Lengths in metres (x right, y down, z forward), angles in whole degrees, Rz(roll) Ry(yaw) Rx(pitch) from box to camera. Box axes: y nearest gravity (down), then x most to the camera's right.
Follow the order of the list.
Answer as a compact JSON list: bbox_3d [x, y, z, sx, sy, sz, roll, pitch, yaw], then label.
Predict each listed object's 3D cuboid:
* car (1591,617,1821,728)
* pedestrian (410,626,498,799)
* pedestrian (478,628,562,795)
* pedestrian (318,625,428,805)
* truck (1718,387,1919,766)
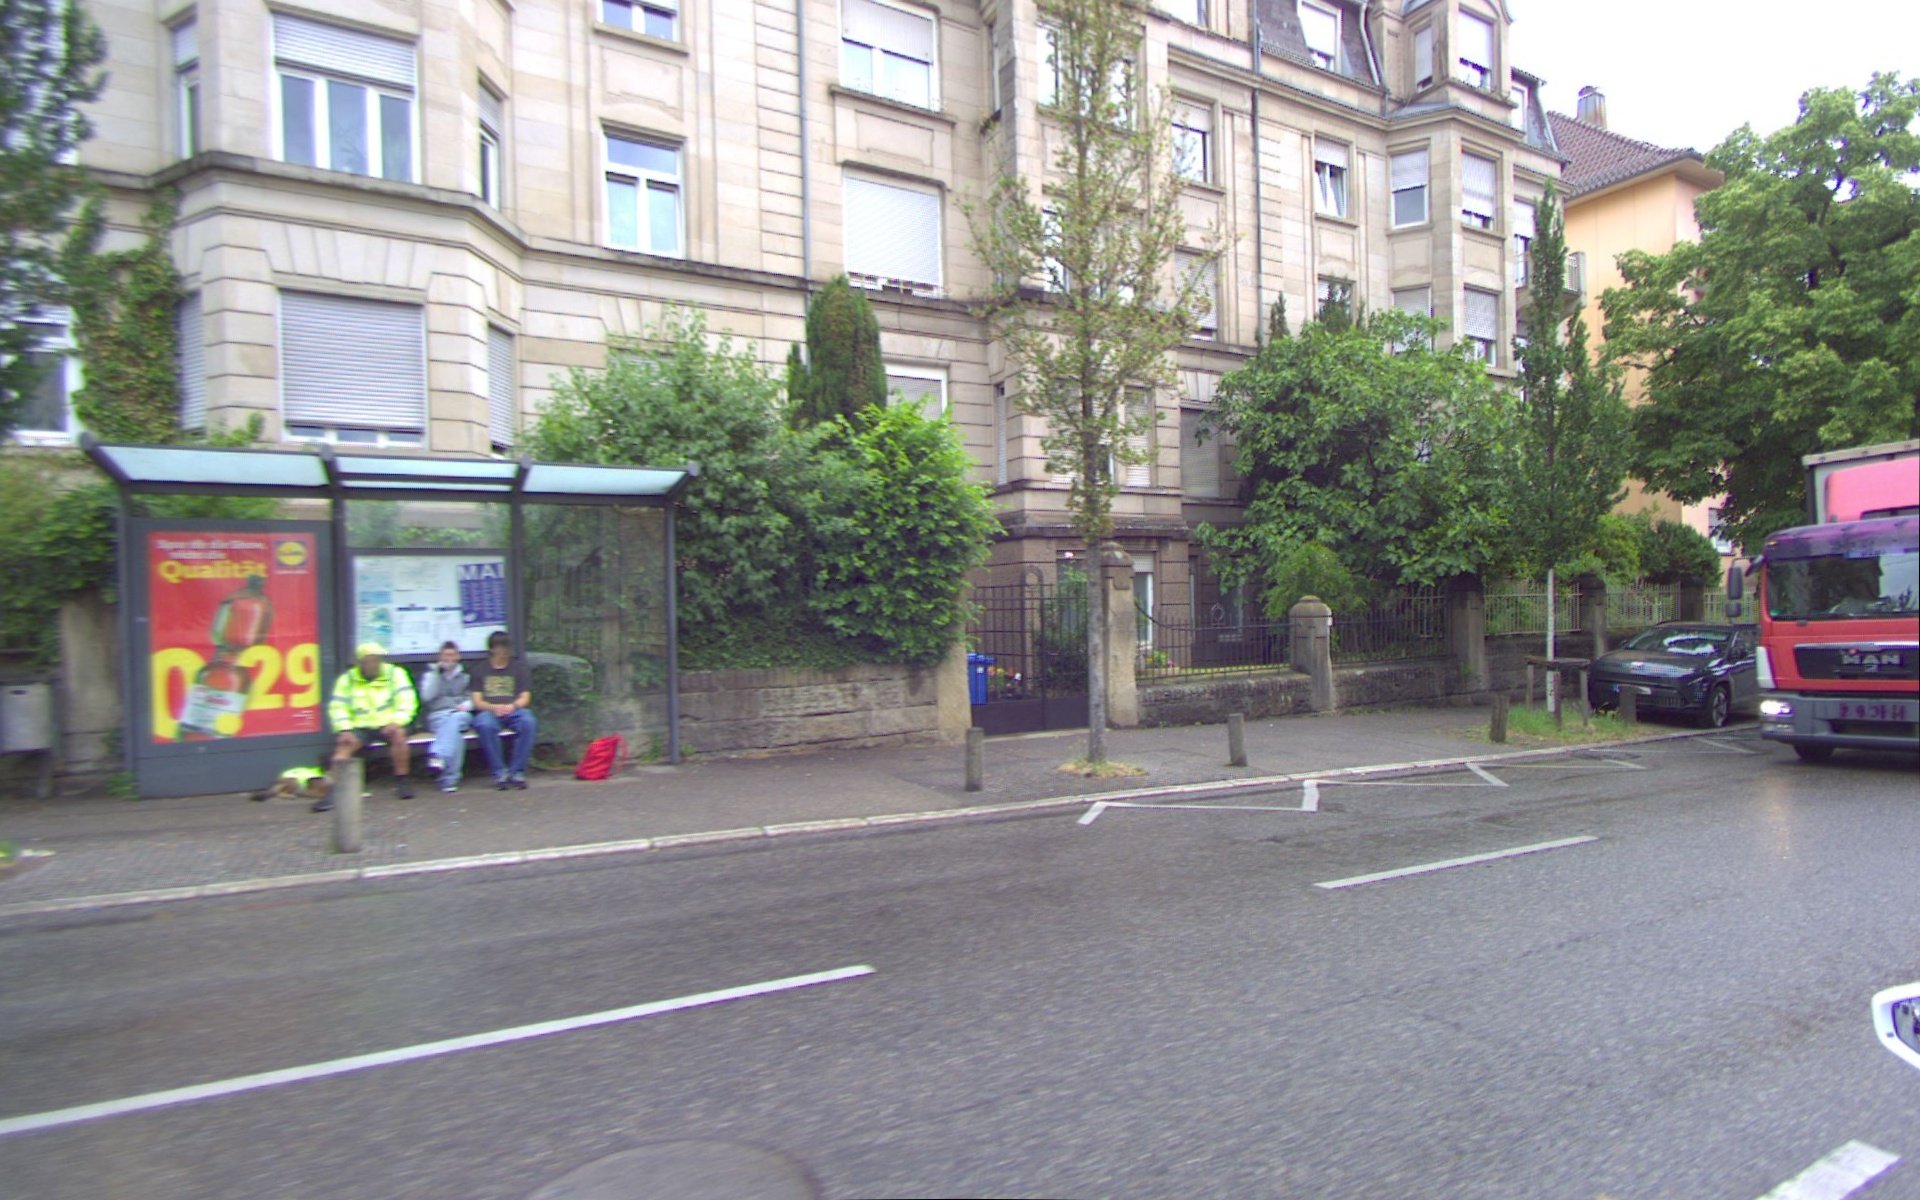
[{"bbox_3d":[12.703,1.161,17.040,4.256,1.580,1.731,2,2,-33],"label":"car"},{"bbox_3d":[-4.483,0.959,8.914,0.641,1.451,0.763,1,-2,-27],"label":"pedestrian"},{"bbox_3d":[-4.049,0.985,9.232,0.641,1.451,0.763,1,-2,-27],"label":"pedestrian"},{"bbox_3d":[-5.023,0.943,8.612,0.751,1.451,0.762,1,-2,-31],"label":"pedestrian"},{"bbox_3d":[13.646,-0.147,13.104,9.198,3.905,2.635,1,-3,-31],"label":"truck"}]
